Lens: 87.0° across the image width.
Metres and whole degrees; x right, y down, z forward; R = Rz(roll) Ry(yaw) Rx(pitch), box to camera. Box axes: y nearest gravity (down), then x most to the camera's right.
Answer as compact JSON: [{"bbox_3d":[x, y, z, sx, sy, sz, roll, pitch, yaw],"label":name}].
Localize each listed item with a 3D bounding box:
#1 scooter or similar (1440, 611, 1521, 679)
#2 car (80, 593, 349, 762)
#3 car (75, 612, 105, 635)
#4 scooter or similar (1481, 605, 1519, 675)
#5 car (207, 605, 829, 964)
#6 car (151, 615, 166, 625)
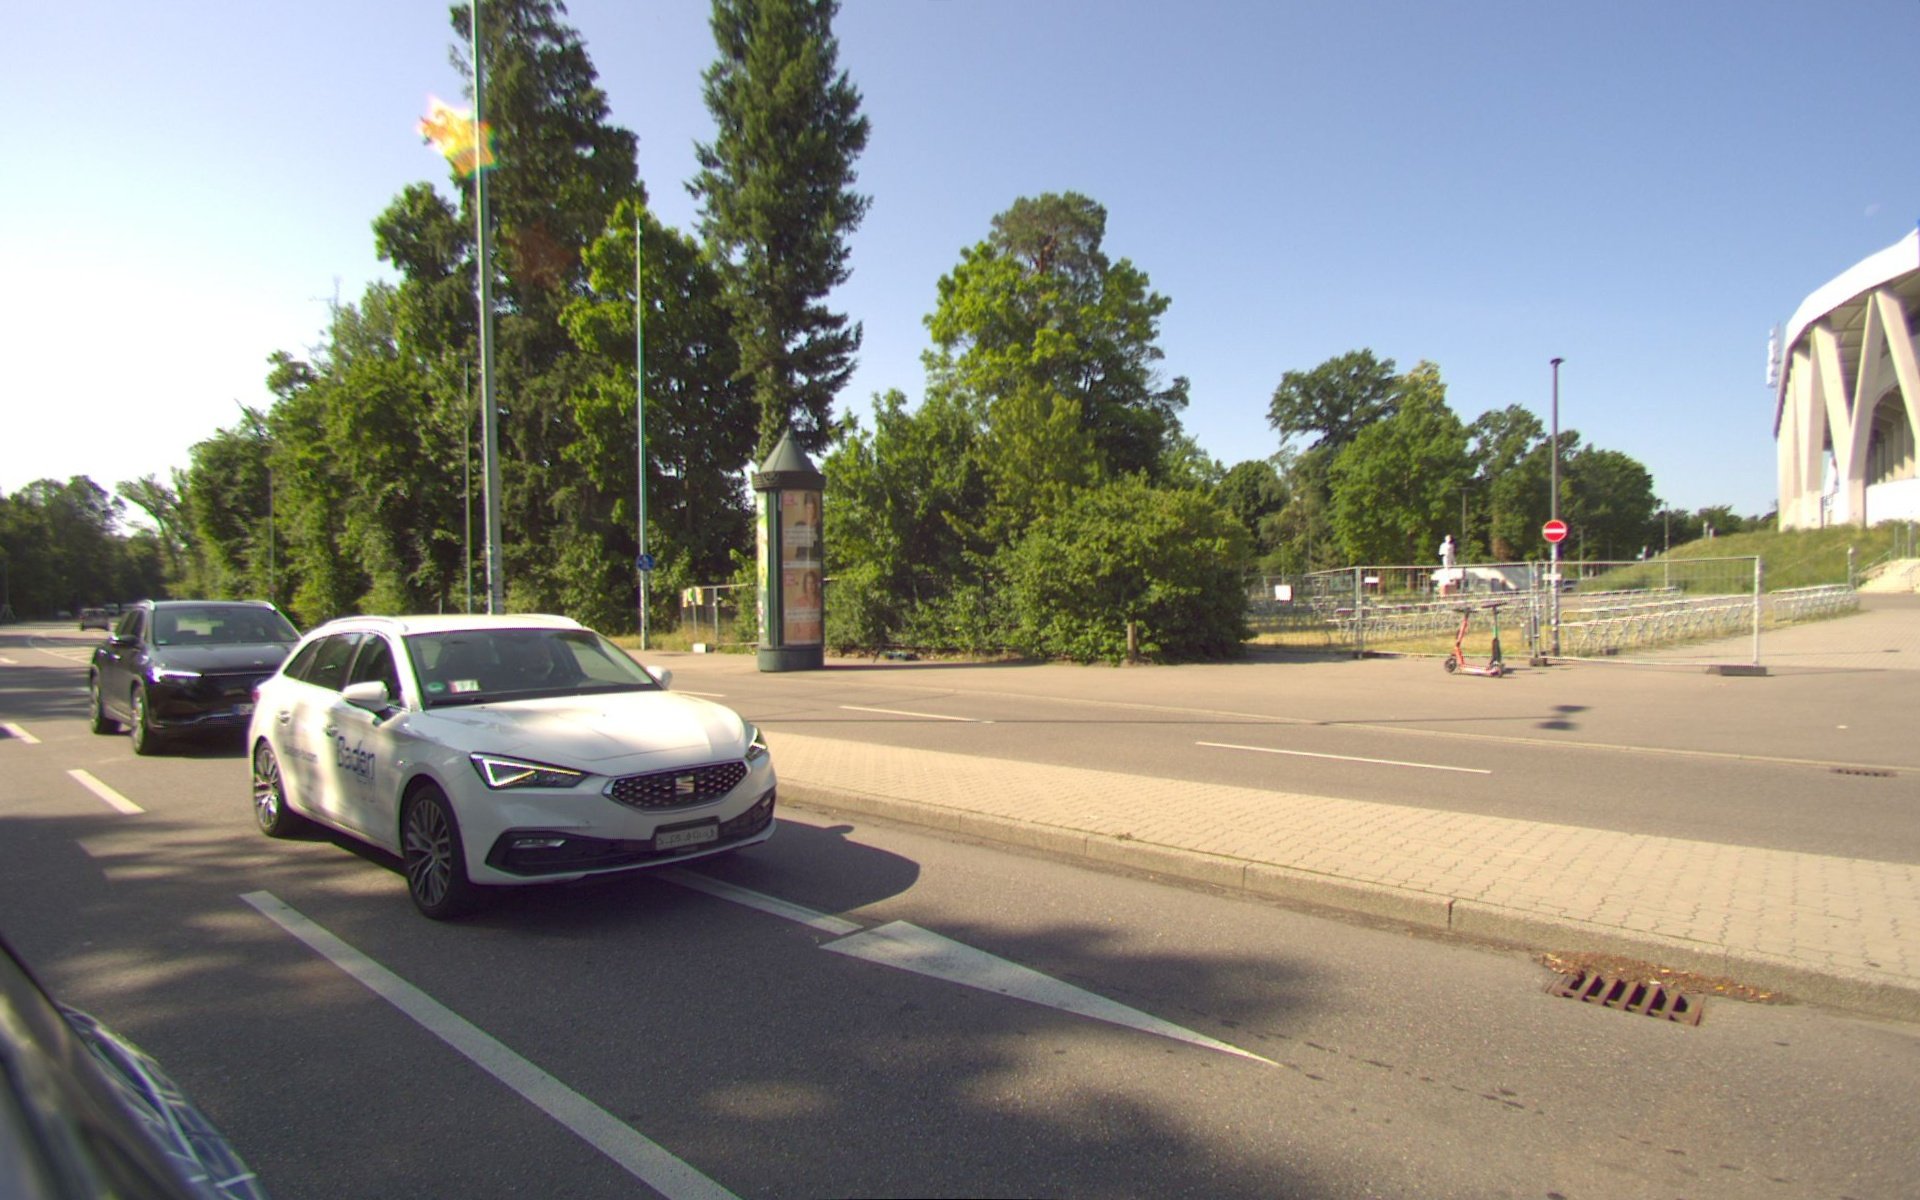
[{"bbox_3d":[9.248,0.785,18.006,0.390,1.154,1.197,-1,0,-44],"label":"scooter or similar"},{"bbox_3d":[-8.785,0.808,11.787,4.273,1.608,1.784,-2,-3,43],"label":"car"},{"bbox_3d":[-75.067,2.022,87.318,1.850,1.874,4.004,-1,0,-43],"label":"car"},{"bbox_3d":[9.878,0.721,18.533,0.392,1.231,1.076,-1,0,17],"label":"scooter or similar"},{"bbox_3d":[-3.021,0.775,6.275,4.718,1.437,1.707,-1,-1,41],"label":"car"},{"bbox_3d":[-127.905,3.197,161.562,1.828,1.630,4.007,-1,0,-39],"label":"car"}]
